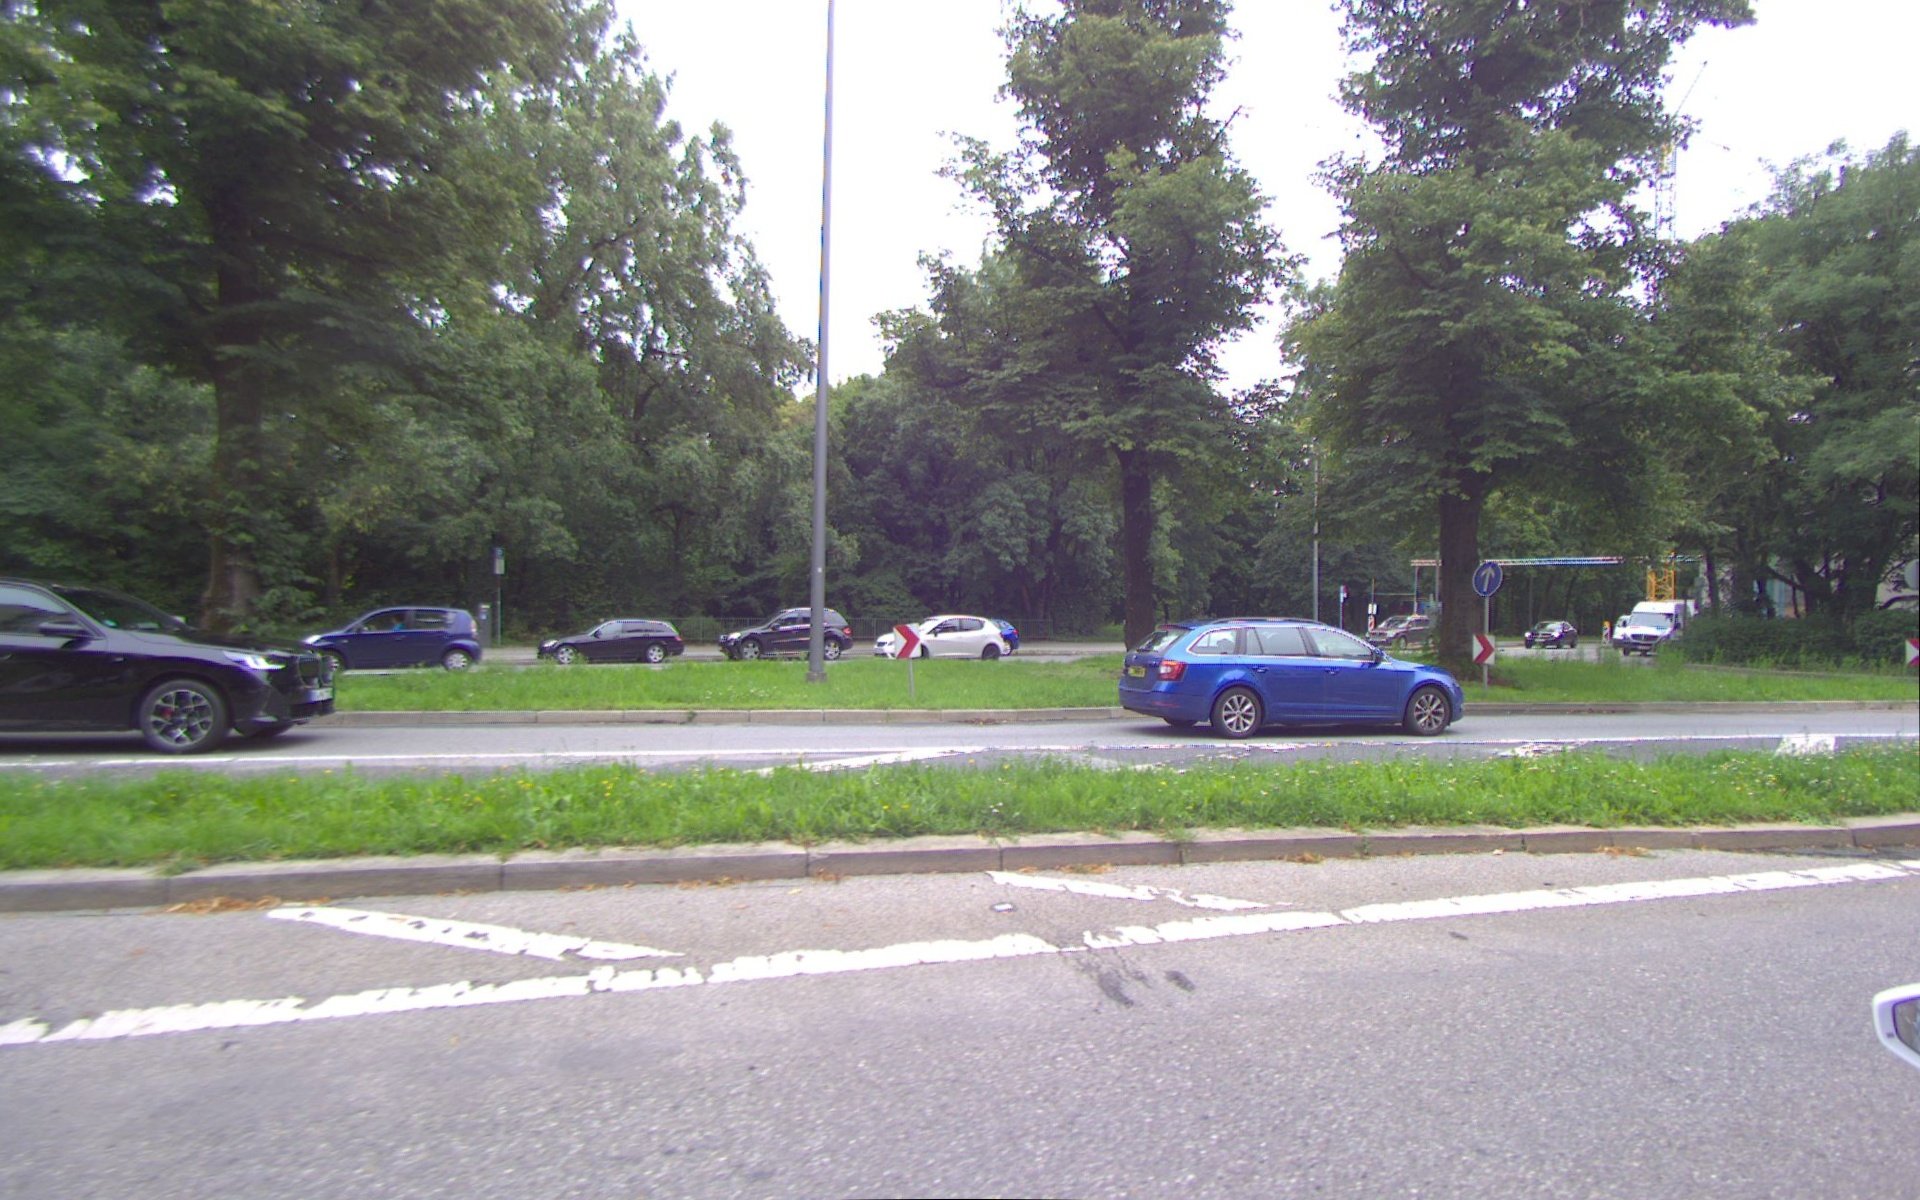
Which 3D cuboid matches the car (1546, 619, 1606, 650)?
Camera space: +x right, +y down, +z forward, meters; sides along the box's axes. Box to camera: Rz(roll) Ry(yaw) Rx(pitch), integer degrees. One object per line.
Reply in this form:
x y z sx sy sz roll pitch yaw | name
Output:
38.958 2.189 63.469 3.957 1.899 1.735 1 -1 -33 | car

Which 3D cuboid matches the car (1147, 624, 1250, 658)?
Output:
10.686 1.814 44.939 4.373 1.465 1.984 1 -2 -31 | car

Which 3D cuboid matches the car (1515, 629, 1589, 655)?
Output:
34.336 2.409 58.266 4.339 1.466 1.882 1 -1 -31 | car

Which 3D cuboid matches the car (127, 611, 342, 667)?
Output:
-19.968 1.082 27.916 4.462 1.465 1.989 1 -2 -24 | car

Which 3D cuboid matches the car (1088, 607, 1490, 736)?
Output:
4.219 0.878 13.096 4.655 1.473 1.988 1 -1 -15 | car

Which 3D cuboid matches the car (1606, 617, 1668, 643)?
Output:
39.192 1.732 58.116 4.262 1.466 1.876 1 -1 -39 | car

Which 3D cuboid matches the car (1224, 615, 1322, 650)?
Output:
13.452 1.382 43.100 3.987 1.466 1.882 1 -1 -31 | car

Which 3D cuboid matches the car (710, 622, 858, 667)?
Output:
-6.130 1.524 35.074 4.712 1.465 1.984 1 -2 -30 | car

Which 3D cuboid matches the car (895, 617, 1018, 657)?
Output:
-0.112 1.425 38.900 4.373 1.465 1.984 1 -2 -31 | car

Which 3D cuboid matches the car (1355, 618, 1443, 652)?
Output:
23.220 1.833 53.119 4.595 1.741 1.984 1 -2 -31 | car

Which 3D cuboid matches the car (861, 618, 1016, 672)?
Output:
-0.589 1.291 29.188 4.190 1.465 1.817 1 -2 -32 | car

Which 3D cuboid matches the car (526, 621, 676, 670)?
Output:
-11.480 1.434 32.168 4.267 1.465 1.984 1 -2 -30 | car

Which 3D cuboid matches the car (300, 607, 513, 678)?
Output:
-12.237 0.905 22.356 3.987 1.466 1.882 1 -1 -31 | car

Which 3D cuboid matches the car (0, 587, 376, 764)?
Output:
-8.825 0.696 10.069 4.749 1.607 1.914 1 -1 -15 | car

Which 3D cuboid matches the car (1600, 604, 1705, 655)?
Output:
33.245 1.411 48.222 5.070 2.300 2.289 1 -1 -31 | car
